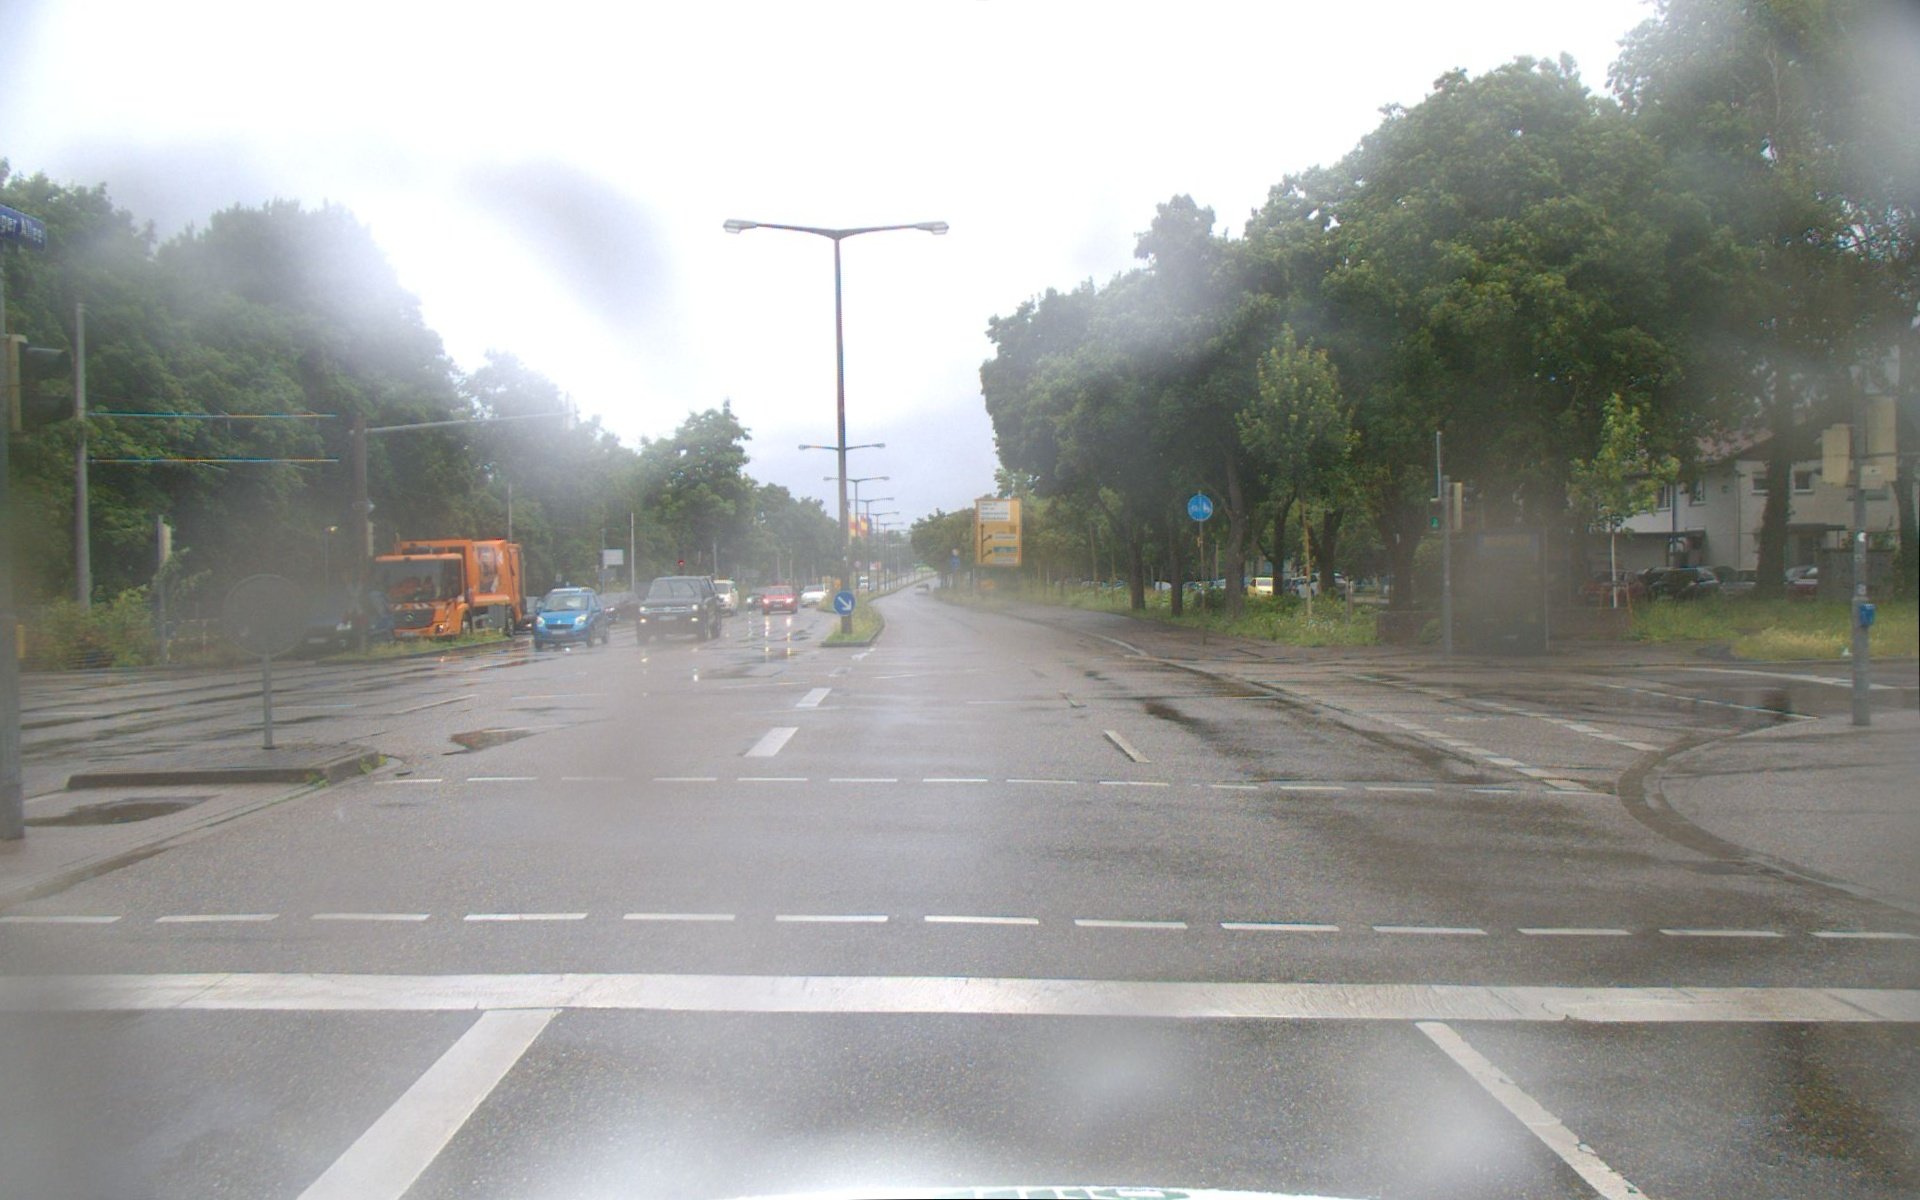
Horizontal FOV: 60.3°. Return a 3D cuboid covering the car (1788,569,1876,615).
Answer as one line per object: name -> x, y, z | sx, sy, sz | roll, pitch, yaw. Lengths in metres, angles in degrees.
car -> 29.448, -0.258, 55.834 | 3.723, 1.474, 1.577 | 1, 0, -44

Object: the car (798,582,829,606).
car -> -10.797, -0.456, 122.095 | 1.921, 1.645, 4.696 | -2, 1, -2

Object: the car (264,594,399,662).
car -> -17.085, 0.730, 45.208 | 1.953, 1.739, 4.526 | 1, 0, 0

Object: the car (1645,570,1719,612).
car -> 25.967, -0.309, 59.442 | 1.637, 1.474, 3.736 | 1, 0, 37

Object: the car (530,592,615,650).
car -> -10.784, 0.563, 46.273 | 1.608, 1.452, 3.997 | -3, 0, -4

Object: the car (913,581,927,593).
car -> -5.325, -1.803, 222.006 | 1.868, 1.541, 3.999 | -1, 1, -1

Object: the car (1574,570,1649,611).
car -> 23.995, -0.338, 60.880 | 1.637, 1.474, 3.736 | 1, 0, 37

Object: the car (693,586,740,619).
car -> -12.870, 0.116, 87.493 | 1.855, 1.639, 4.499 | -1, 1, -1

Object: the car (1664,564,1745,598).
car -> 32.584, -0.815, 72.504 | 1.552, 1.409, 3.997 | 1, 0, -4

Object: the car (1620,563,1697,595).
car -> 30.353, -0.911, 71.978 | 1.541, 1.339, 3.699 | 1, 0, -4

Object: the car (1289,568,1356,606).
car -> 17.940, -0.626, 82.023 | 1.954, 1.747, 4.875 | -1, 0, -4

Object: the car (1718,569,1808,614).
car -> 27.777, -0.283, 57.192 | 3.723, 1.474, 1.643 | 1, 0, -44

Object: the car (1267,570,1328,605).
car -> 17.812, -0.636, 87.476 | 1.954, 1.747, 4.638 | -1, 0, -4

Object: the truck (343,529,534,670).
truck -> -17.225, -0.010, 55.638 | 3.316, 4.240, 10.403 | 1, 0, -2

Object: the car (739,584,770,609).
car -> -14.623, -0.234, 118.120 | 1.672, 1.670, 4.330 | -3, 1, -1

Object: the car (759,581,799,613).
car -> -9.807, -0.158, 89.711 | 1.765, 1.597, 4.427 | -3, 0, -2

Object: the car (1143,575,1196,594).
car -> 19.249, -1.428, 152.144 | 4.483, 1.673, 1.997 | 1, 0, -7

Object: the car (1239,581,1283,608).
car -> 17.326, -0.327, 95.369 | 1.605, 1.512, 4.070 | 1, 0, -4

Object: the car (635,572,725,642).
car -> -7.939, 0.164, 47.271 | 1.769, 1.804, 5.087 | -2, 1, -2
